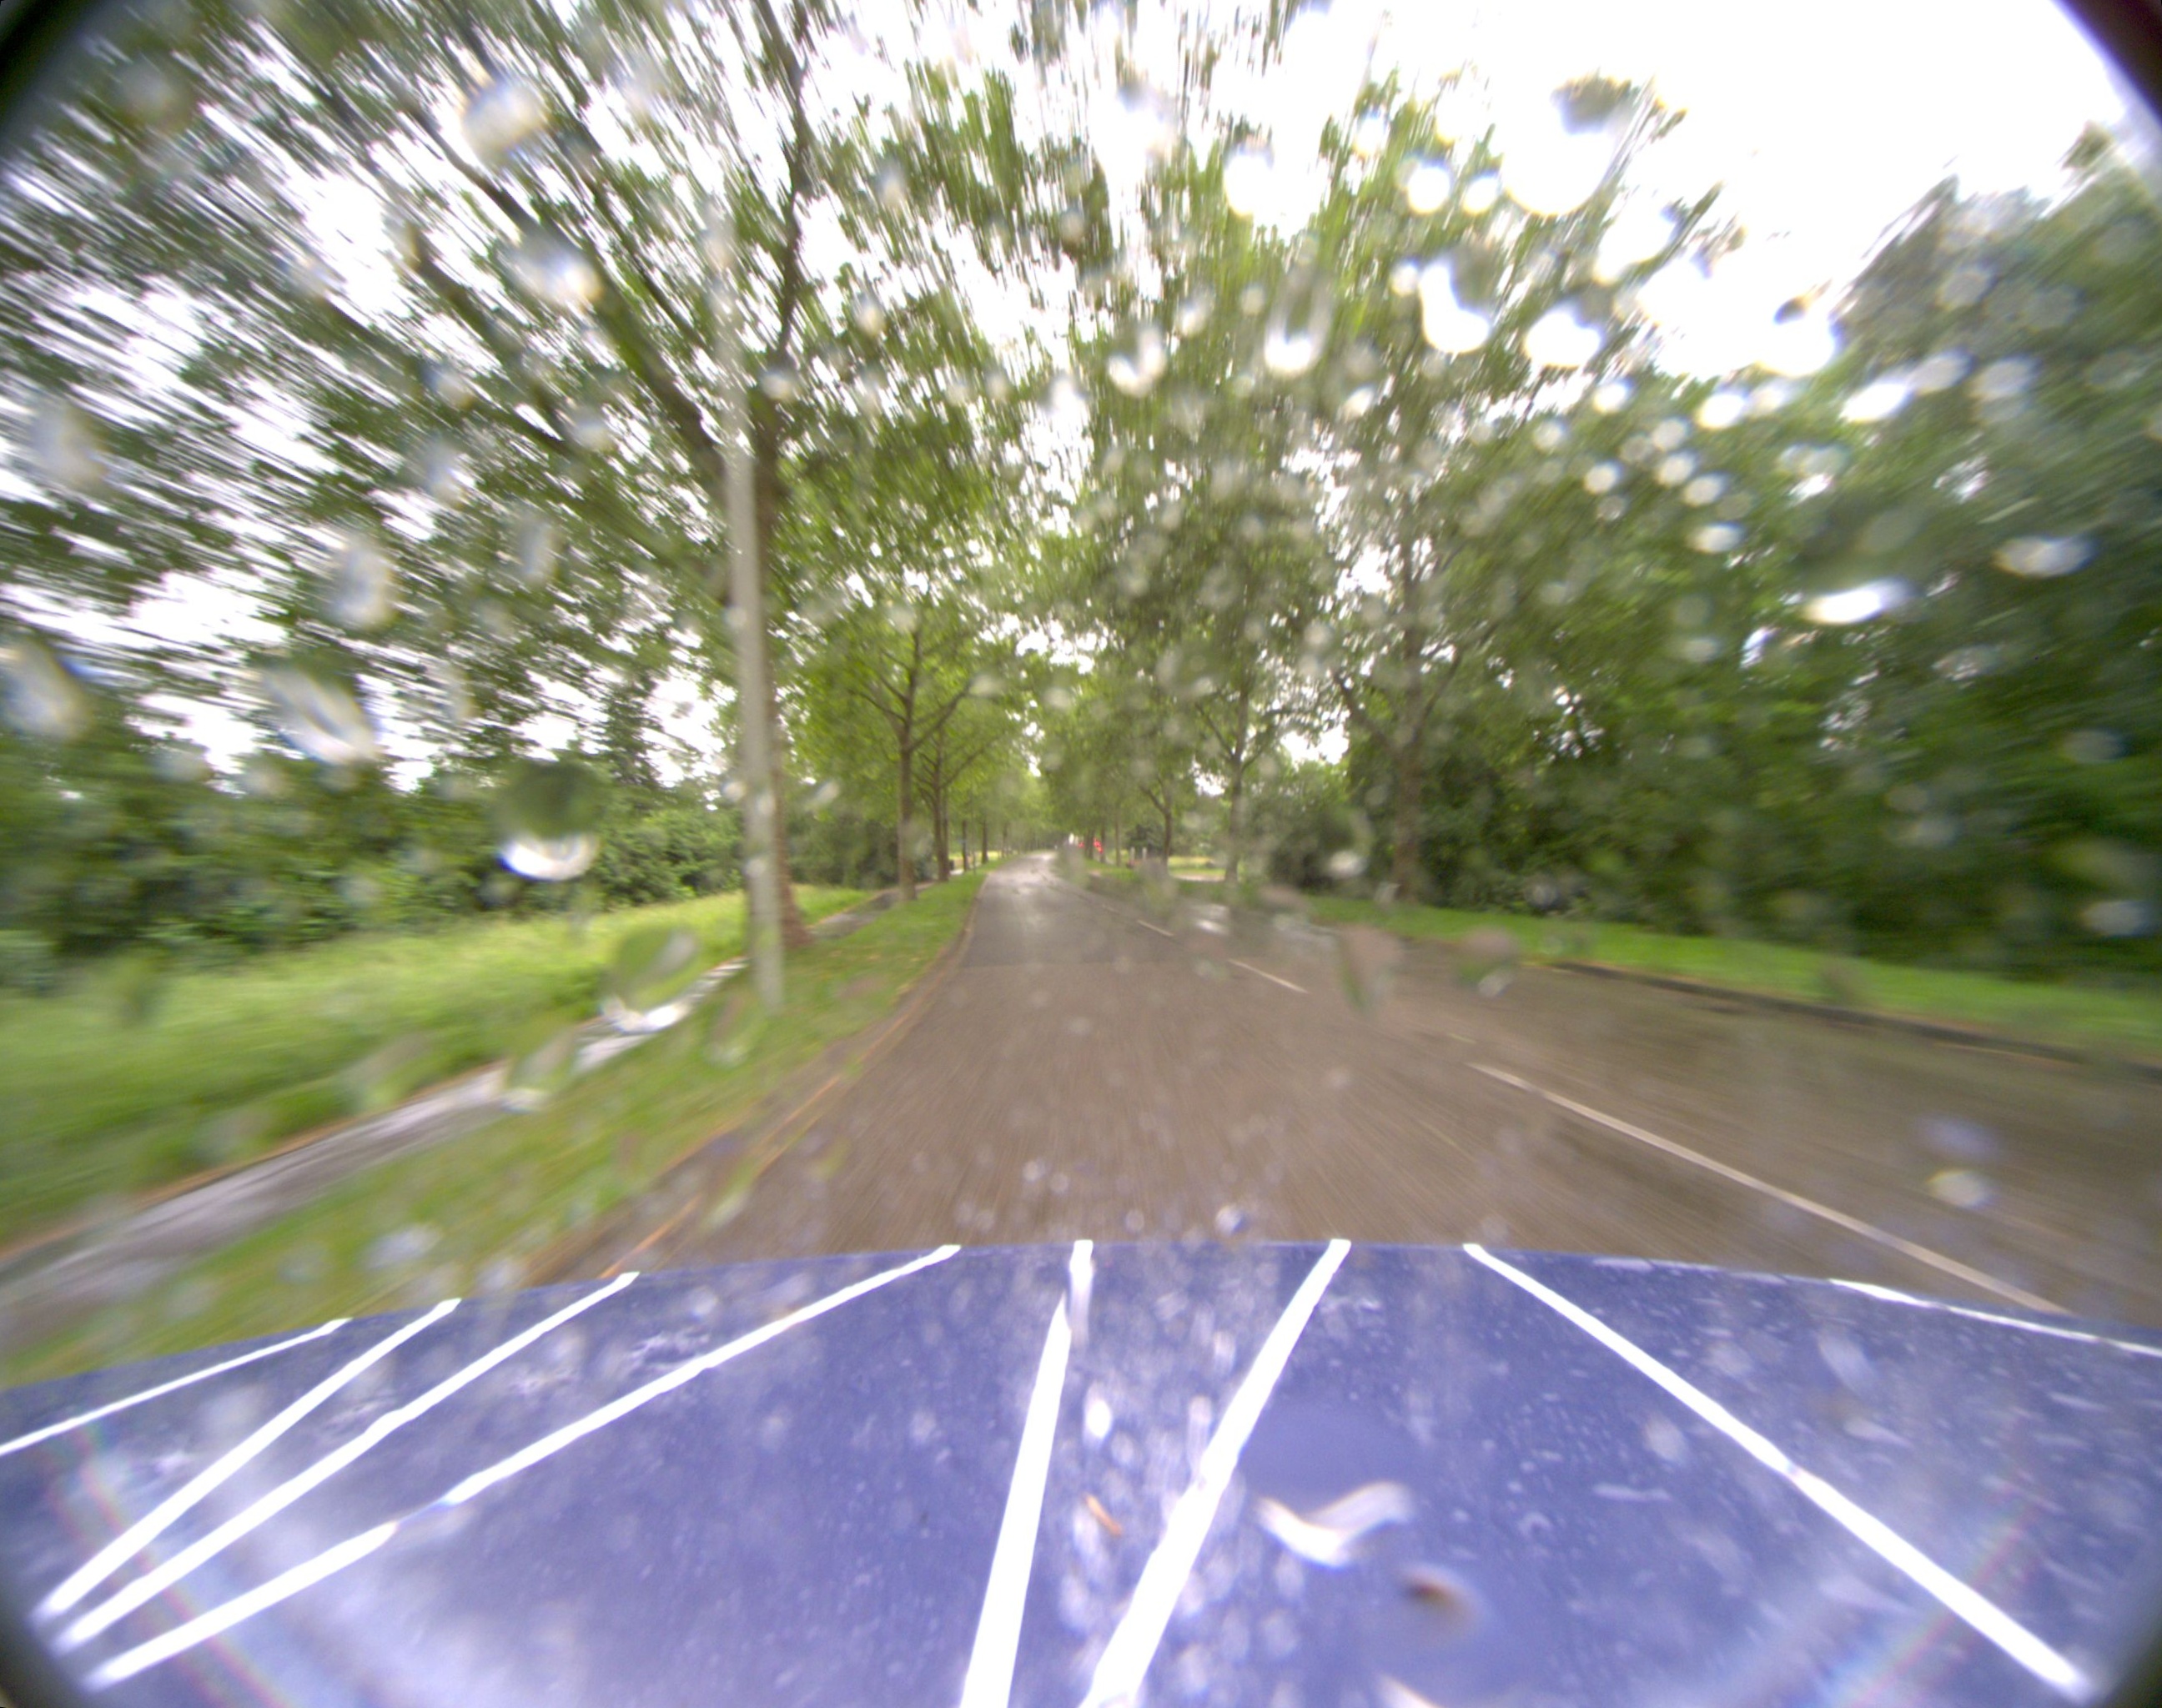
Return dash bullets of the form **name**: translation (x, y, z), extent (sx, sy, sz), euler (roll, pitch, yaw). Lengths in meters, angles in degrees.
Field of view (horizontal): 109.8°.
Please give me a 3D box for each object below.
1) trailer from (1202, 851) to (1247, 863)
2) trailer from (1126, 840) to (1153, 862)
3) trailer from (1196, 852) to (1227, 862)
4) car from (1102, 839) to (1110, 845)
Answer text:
- **trailer**: translation (15.548, 0.320, 82.281), extent (4.329, 1.027, 2.380), euler (-1, 2, -5)
- **trailer**: translation (7.589, -0.472, 99.680), extent (2.805, 2.649, 6.649), euler (-1, 2, -2)
- **trailer**: translation (14.702, 0.333, 85.504), extent (3.084, 0.939, 1.767), euler (-1, 2, -3)
- **car**: translation (7.460, -3.437, 224.530), extent (1.897, 1.673, 4.002), euler (0, 2, 11)
